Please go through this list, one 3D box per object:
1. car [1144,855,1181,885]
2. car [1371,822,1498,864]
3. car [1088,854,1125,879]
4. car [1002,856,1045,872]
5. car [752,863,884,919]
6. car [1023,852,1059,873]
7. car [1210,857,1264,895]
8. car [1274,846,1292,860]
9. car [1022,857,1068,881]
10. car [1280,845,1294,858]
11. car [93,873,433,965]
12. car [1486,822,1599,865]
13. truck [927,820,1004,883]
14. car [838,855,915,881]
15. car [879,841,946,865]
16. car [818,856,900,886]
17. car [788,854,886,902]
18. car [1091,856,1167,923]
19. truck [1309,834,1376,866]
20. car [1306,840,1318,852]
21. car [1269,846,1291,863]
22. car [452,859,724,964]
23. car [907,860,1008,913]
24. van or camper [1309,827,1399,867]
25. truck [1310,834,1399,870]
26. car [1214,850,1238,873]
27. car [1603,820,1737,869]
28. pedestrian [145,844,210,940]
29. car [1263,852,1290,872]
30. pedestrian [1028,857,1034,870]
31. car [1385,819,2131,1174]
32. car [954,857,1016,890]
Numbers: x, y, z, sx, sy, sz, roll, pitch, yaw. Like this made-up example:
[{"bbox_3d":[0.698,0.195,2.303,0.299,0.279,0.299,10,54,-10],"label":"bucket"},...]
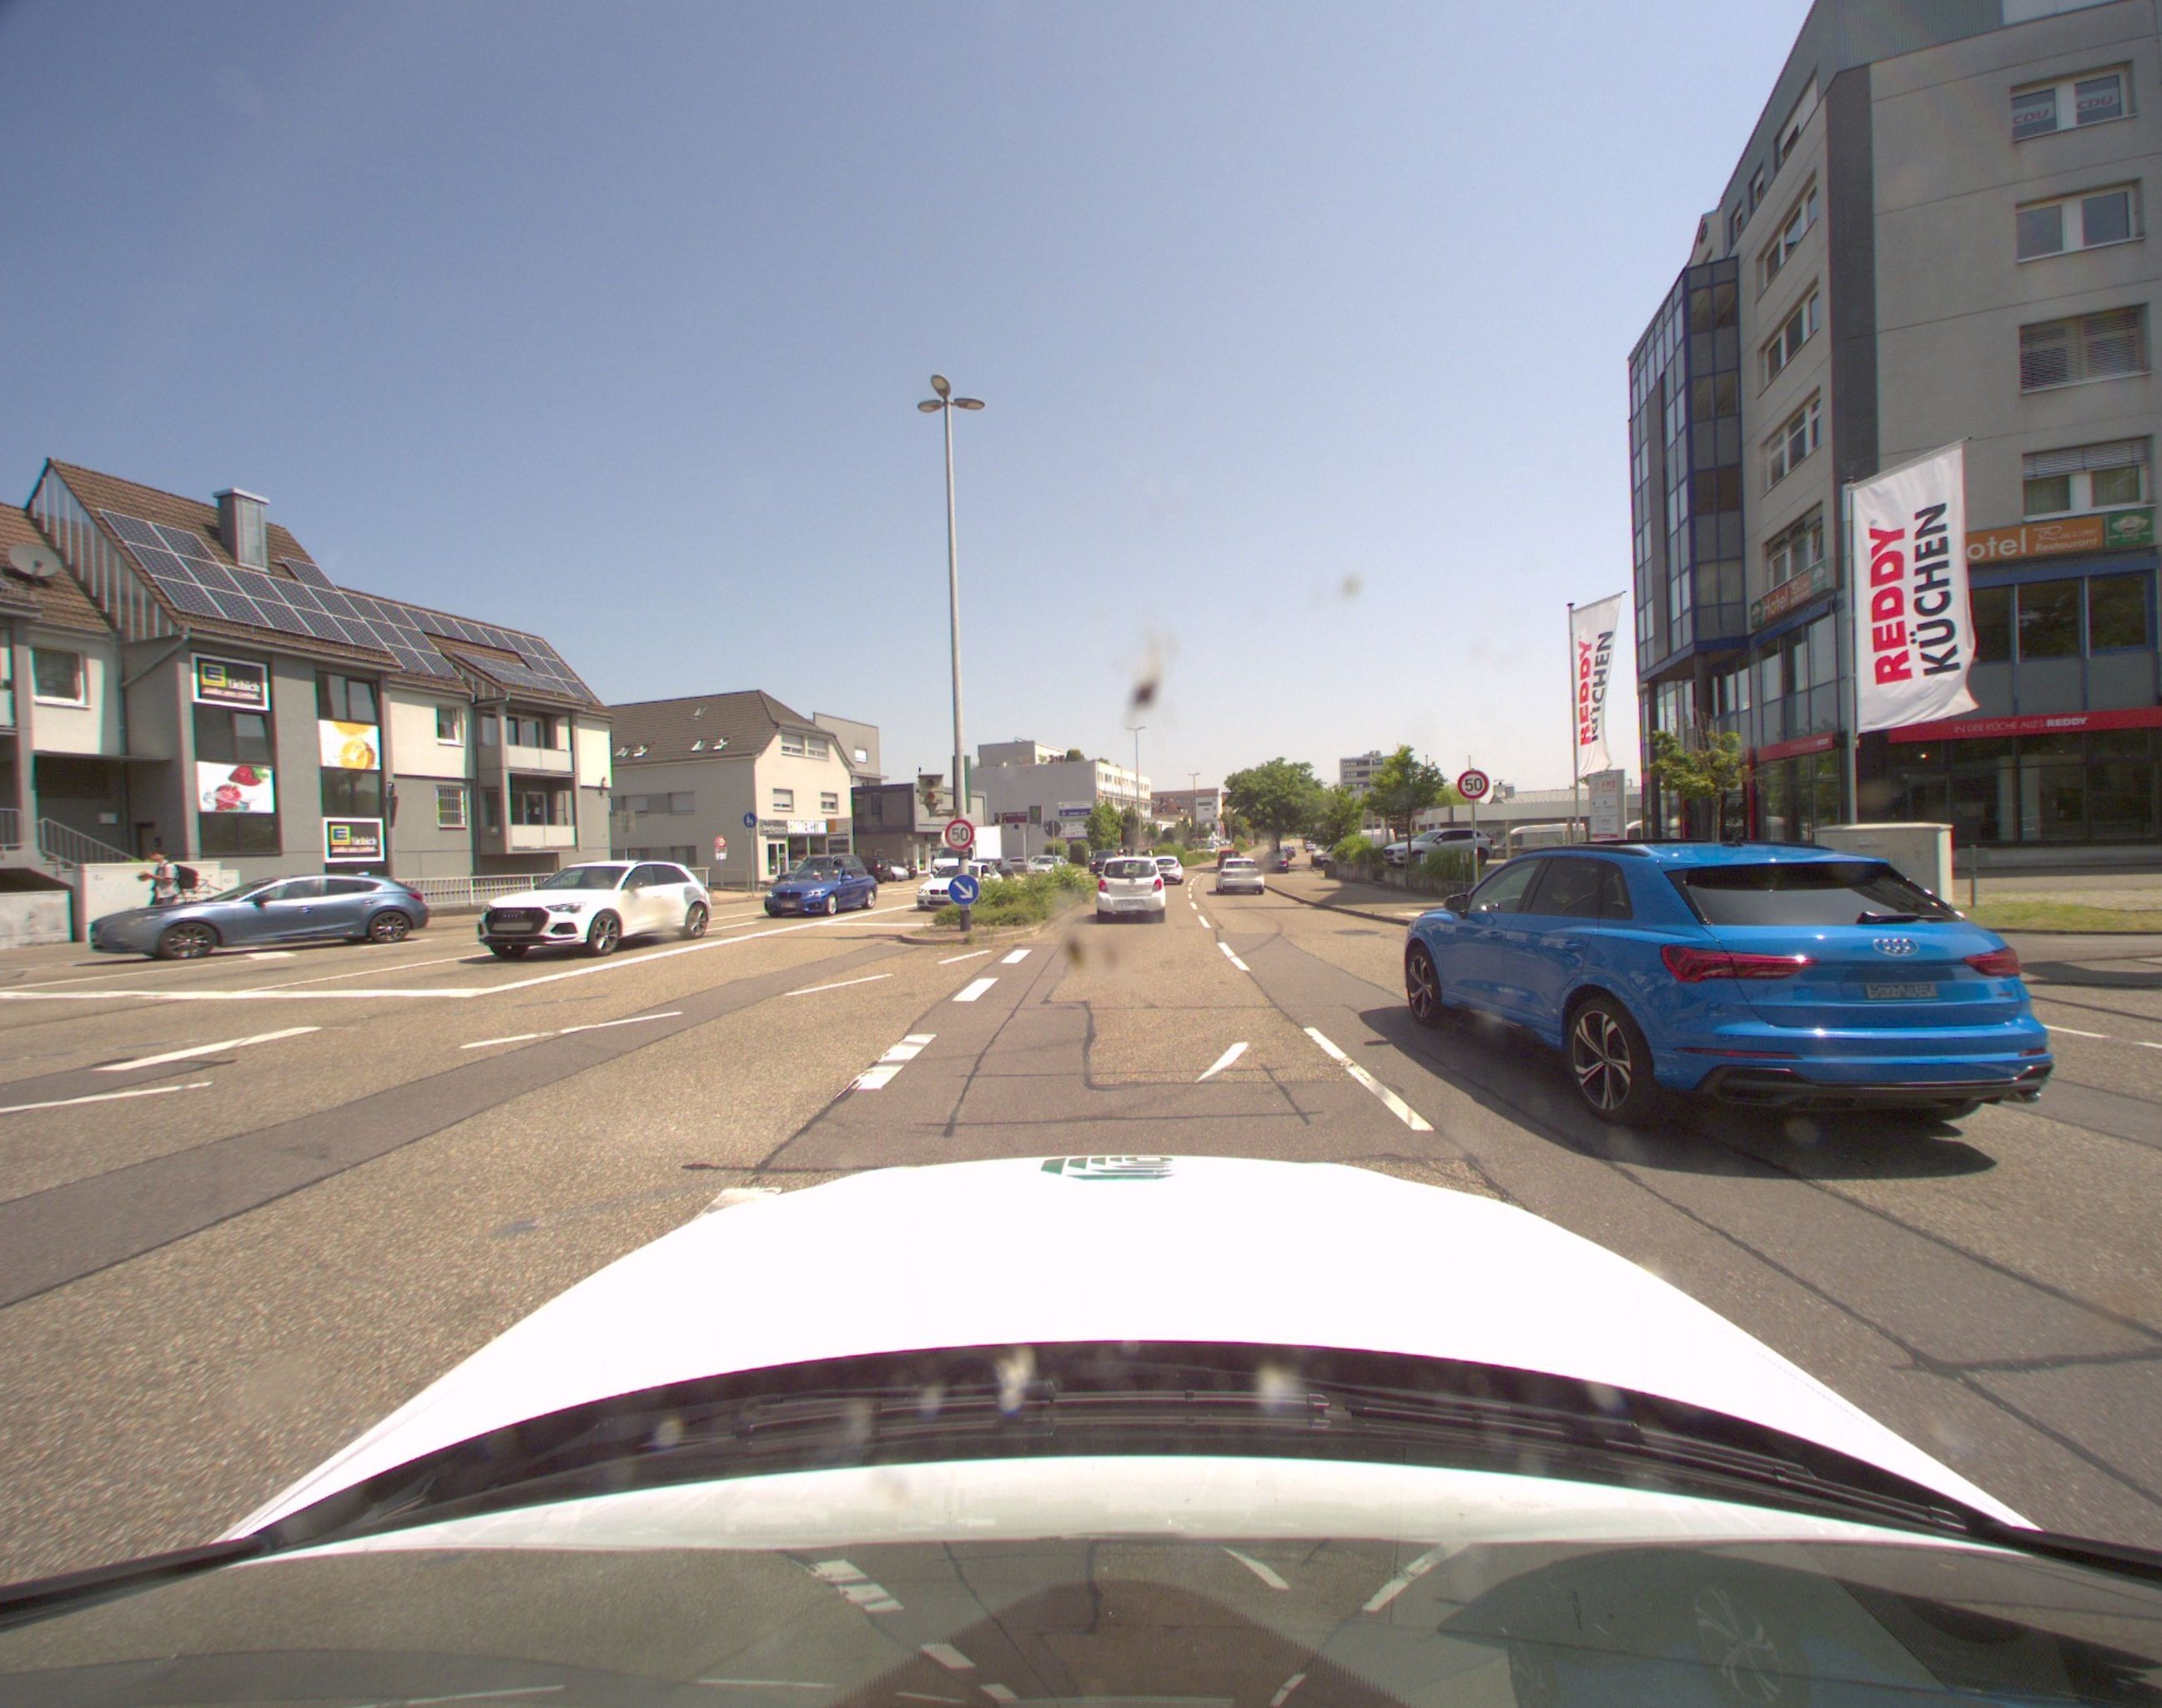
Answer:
[{"bbox_3d":[4.273,0.802,42.921,1.821,1.450,4.005,-1,0,5],"label":"car"},{"bbox_3d":[15.255,-0.458,35.267,4.724,1.714,1.994,0,-1,-10],"label":"car"},{"bbox_3d":[1.851,0.893,58.396,1.896,1.751,4.774,-1,-1,11],"label":"car"},{"bbox_3d":[-5.699,0.973,80.695,3.961,1.459,1.580,-2,-1,11],"label":"car"},{"bbox_3d":[-7.335,0.981,23.208,1.852,1.366,4.357,-1,0,8],"label":"car"},{"bbox_3d":[-3.004,0.647,62.194,1.886,1.566,4.209,-1,-1,10],"label":"car"},{"bbox_3d":[6.183,0.846,32.565,1.660,1.399,3.797,-1,0,4],"label":"car"},{"bbox_3d":[23.278,-0.149,93.916,1.841,1.481,5.175,-2,1,13],"label":"car"},{"bbox_3d":[-2.099,0.874,49.310,1.886,1.361,4.209,-1,-1,10],"label":"car"},{"bbox_3d":[26.547,-0.376,104.818,1.701,1.548,4.809,-3,0,14],"label":"car"},{"bbox_3d":[-15.176,1.105,15.406,1.476,1.449,4.298,-1,-1,32],"label":"car"},{"bbox_3d":[28.538,-0.609,50.599,5.837,2.528,2.130,-1,-1,19],"label":"car"},{"bbox_3d":[-6.658,-0.070,48.027,2.250,3.418,7.061,-1,-1,11],"label":"truck"},{"bbox_3d":[-13.513,0.935,53.924,4.580,1.496,1.757,2,1,8],"label":"car"},{"bbox_3d":[-11.765,-0.055,56.937,4.028,1.521,2.007,-2,0,13],"label":"car"},{"bbox_3d":[-13.885,1.036,50.981,4.571,1.627,1.862,2,1,15],"label":"car"},{"bbox_3d":[-9.517,0.901,32.158,1.983,1.656,4.602,-2,0,6],"label":"car"},{"bbox_3d":[1.173,0.817,20.098,1.705,1.511,3.249,0,-1,2],"label":"car"},{"bbox_3d":[22.330,-0.368,69.647,5.205,2.436,2.121,-3,0,17],"label":"truck"},{"bbox_3d":[34.652,-1.224,122.299,1.654,1.596,4.633,-3,1,16],"label":"car"},{"bbox_3d":[21.566,0.044,88.090,1.946,1.530,5.183,-4,0,16],"label":"car"},{"bbox_3d":[-8.566,0.897,14.757,1.808,1.570,4.563,-1,0,6],"label":"car"},{"bbox_3d":[-3.667,0.918,25.072,1.853,1.431,4.753,-1,0,7],"label":"car"},{"bbox_3d":[22.269,-0.556,66.699,6.745,2.897,2.285,-2,0,15],"label":"van or camper"},{"bbox_3d":[20.870,-0.160,62.353,6.196,2.336,2.379,-3,1,17],"label":"truck"},{"bbox_3d":[11.397,0.547,63.802,1.783,1.729,3.984,-1,0,10],"label":"car"},{"bbox_3d":[34.792,-0.515,48.305,6.068,2.810,2.009,-1,-1,17],"label":"car"},{"bbox_3d":[-19.381,0.800,17.482,0.501,2.013,0.743,0,1,0],"label":"pedestrian"},{"bbox_3d":[14.319,0.569,59.438,1.784,1.406,4.337,0,0,15],"label":"car"},{"bbox_3d":[-6.313,1.154,102.770,0.542,1.657,0.627,-1,-1,15],"label":"pedestrian"},{"bbox_3d":[3.897,0.667,5.921,1.905,1.597,4.399,-1,0,3],"label":"car"},{"bbox_3d":[-4.384,0.864,38.036,1.792,1.439,4.585,-1,0,7],"label":"car"}]
